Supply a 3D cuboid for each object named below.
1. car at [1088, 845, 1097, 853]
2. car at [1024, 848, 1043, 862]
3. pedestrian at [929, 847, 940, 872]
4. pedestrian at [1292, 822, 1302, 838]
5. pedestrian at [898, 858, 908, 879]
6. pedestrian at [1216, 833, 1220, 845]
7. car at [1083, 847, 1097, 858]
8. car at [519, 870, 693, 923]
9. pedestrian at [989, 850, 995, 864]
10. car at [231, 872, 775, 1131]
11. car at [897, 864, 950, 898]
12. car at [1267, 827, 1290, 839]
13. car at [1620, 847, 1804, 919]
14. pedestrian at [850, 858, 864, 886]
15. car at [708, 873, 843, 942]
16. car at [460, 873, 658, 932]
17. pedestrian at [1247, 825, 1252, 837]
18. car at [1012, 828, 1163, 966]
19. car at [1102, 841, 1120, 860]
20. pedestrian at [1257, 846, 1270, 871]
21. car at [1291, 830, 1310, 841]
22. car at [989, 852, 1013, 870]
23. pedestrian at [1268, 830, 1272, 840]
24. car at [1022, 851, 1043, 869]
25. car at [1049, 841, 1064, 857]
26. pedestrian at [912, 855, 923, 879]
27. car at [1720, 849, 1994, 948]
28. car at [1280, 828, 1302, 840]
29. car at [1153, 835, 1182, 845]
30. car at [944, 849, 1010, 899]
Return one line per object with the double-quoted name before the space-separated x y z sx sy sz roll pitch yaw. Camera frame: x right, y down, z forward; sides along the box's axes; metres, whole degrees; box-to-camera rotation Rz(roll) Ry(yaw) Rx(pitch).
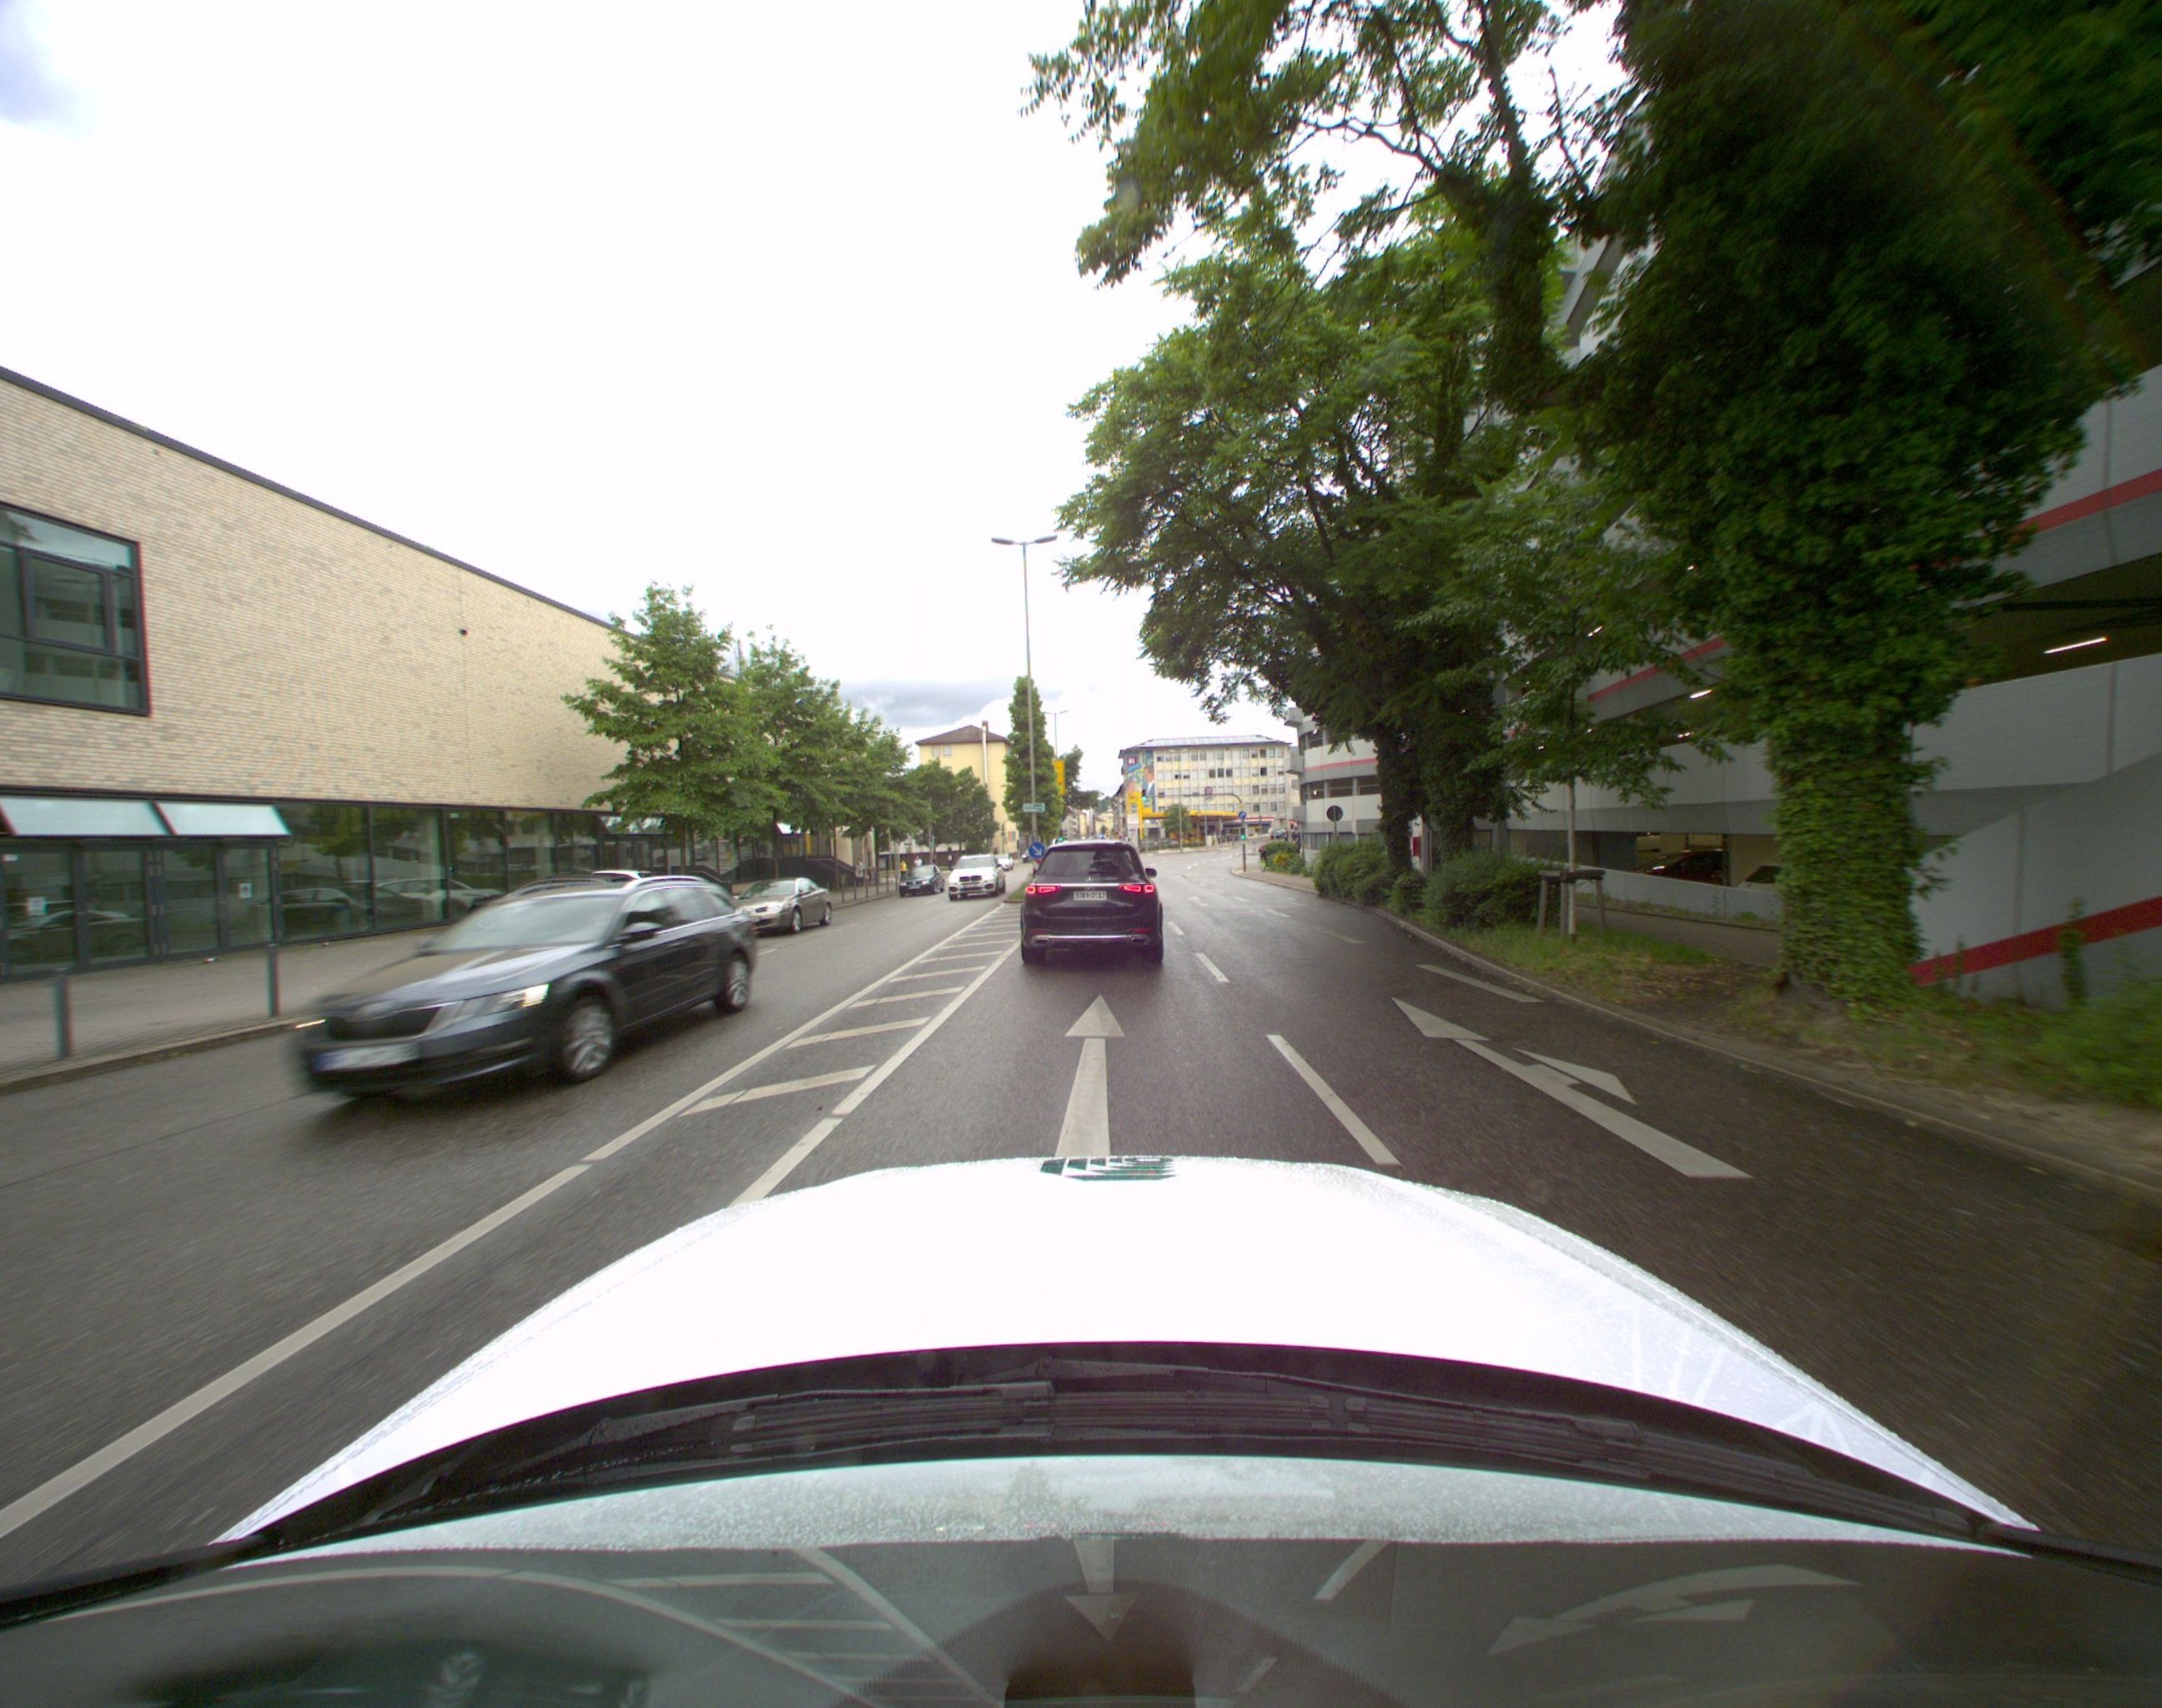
"car" 2.969 -1.205 207.914 1.985 2.014 4.002 0 -1 3
"car" -5.669 0.127 97.484 1.882 1.586 4.536 -4 0 0
"pedestrian" -10.448 0.374 58.055 0.687 1.757 0.716 -2 0 -9
"pedestrian" 29.228 -3.257 110.159 0.853 2.128 0.947 -3 0 -4
"pedestrian" -13.032 1.040 59.709 0.435 1.534 0.548 -3 0 16
"pedestrian" 18.512 -2.008 110.035 0.570 1.697 0.631 0 -1 3
"car" 1.327 -0.145 123.041 1.985 1.614 4.192 0 -1 2
"car" -14.509 1.273 25.020 4.158 1.547 2.002 0 -1 3
"pedestrian" -11.052 0.424 101.531 0.647 1.727 0.628 -3 0 -2
"car" -4.507 0.989 7.372 1.806 1.462 4.286 -4 -1 -1
"car" -7.726 1.283 40.192 1.740 1.412 3.970 -4 0 0
"car" 31.057 -3.252 128.042 1.974 1.706 4.026 -2 1 35
"car" 16.778 0.763 21.834 3.431 1.783 1.823 -2 0 14
"pedestrian" -13.374 1.076 48.676 0.641 1.666 1.017 0 -1 -4
"car" -7.814 1.312 21.269 1.823 1.388 4.229 -4 0 0
"car" -14.414 1.313 22.712 4.169 1.495 1.996 0 -1 -5
"pedestrian" 26.164 -3.583 126.546 0.521 1.727 0.693 -2 0 29
"car" 0.146 0.588 12.726 1.986 1.800 4.001 0 -1 2
"car" 3.303 -0.356 91.151 1.986 2.014 4.001 0 -1 1
"pedestrian" 12.371 0.315 55.180 0.639 1.710 0.474 -2 -2 38
"car" 33.391 -2.818 123.993 1.779 1.525 4.081 0 1 31
"car" -7.105 0.621 72.626 1.727 1.469 4.230 -4 0 -1
"pedestrian" 30.548 -3.035 131.678 0.478 1.641 0.441 -1 -1 30
"car" -4.707 0.574 79.814 1.727 1.625 4.230 -4 0 -1
"car" -3.101 -0.593 103.887 1.787 1.854 4.791 -4 0 0
"pedestrian" -11.875 0.936 59.154 0.688 1.656 0.612 -3 0 -6
"car" 15.055 0.839 16.023 3.431 1.783 1.823 -2 0 14
"car" 34.109 -3.217 132.237 1.974 1.706 4.026 -2 1 35
"car" 12.552 -2.038 118.464 1.747 1.376 3.952 -3 1 -42
"car" -4.231 0.773 33.840 1.884 1.811 4.577 -4 0 2
